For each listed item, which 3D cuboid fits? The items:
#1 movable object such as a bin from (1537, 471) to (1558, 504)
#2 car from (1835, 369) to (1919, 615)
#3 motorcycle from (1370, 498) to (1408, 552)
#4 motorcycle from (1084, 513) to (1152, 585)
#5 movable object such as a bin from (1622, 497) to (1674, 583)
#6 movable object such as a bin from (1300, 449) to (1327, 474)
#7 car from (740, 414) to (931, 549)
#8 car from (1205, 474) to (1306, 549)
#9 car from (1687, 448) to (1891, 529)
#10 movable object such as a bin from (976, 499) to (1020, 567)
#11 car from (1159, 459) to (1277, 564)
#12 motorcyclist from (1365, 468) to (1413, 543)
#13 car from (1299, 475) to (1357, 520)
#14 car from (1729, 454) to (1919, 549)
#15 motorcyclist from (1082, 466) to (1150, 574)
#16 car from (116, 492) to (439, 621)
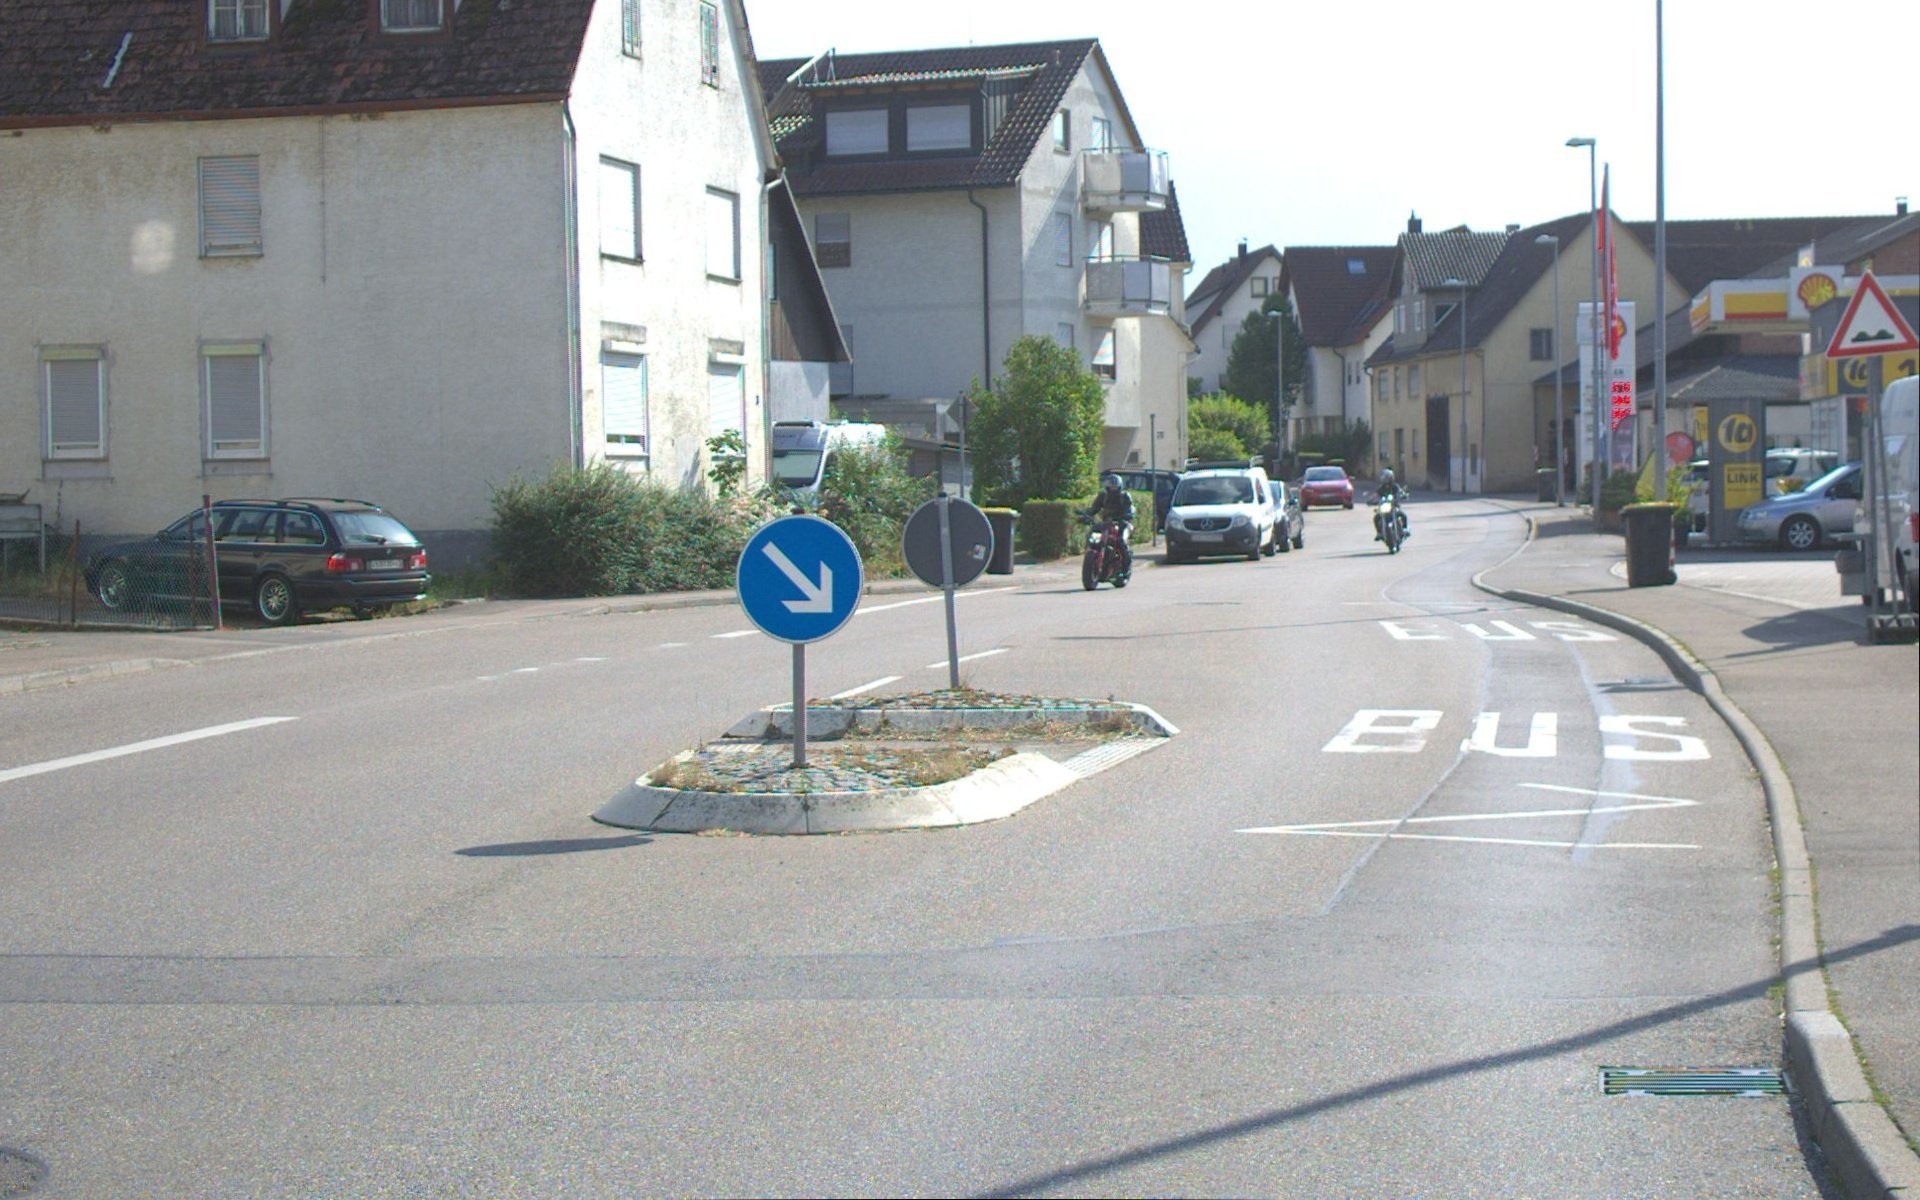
[{"bbox_3d":[19.596,-3.754,114.637,0.653,1.069,0.513,-1,2,7],"label":"movable object such as a bin"},{"bbox_3d":[10.406,-1.185,35.601,1.837,2.366,5.178,-3,2,7],"label":"car"},{"bbox_3d":[8.312,-1.460,66.527,0.525,1.009,2.027,1,2,12],"label":"motorcycle"},{"bbox_3d":[2.307,-0.748,49.948,0.538,1.009,2.026,2,2,15],"label":"motorcycle"},{"bbox_3d":[8.806,-0.771,44.020,0.567,1.071,0.573,-2,2,6],"label":"movable object such as a bin"},{"bbox_3d":[16.946,-6.654,164.828,1.160,1.164,0.655,-1,2,-2],"label":"movable object such as a bin"},{"bbox_3d":[-2.448,-2.437,69.517,2.160,2.586,6.091,0,3,15],"label":"car"},{"bbox_3d":[6.215,-1.870,71.991,1.673,1.446,3.833,-1,2,11],"label":"car"},{"bbox_3d":[17.101,-2.316,71.086,3.988,1.602,1.999,0,2,10],"label":"car"},{"bbox_3d":[0.623,-1.099,56.031,0.611,1.097,0.575,0,1,11],"label":"movable object such as a bin"},{"bbox_3d":[5.004,-1.733,66.282,1.717,1.866,4.190,-2,2,11],"label":"car"},{"bbox_3d":[8.299,-1.827,66.476,0.803,1.431,1.036,1,2,13],"label":"motorcyclist"},{"bbox_3d":[12.380,-3.472,115.821,1.709,1.430,3.780,-3,2,3],"label":"car"},{"bbox_3d":[15.208,-1.688,58.533,3.988,1.526,1.527,-1,2,9],"label":"car"},{"bbox_3d":[2.264,-1.161,49.828,0.737,1.521,1.016,2,2,15],"label":"motorcyclist"},{"bbox_3d":[-8.350,-0.568,41.922,3.996,1.428,1.650,2,4,38],"label":"car"}]
